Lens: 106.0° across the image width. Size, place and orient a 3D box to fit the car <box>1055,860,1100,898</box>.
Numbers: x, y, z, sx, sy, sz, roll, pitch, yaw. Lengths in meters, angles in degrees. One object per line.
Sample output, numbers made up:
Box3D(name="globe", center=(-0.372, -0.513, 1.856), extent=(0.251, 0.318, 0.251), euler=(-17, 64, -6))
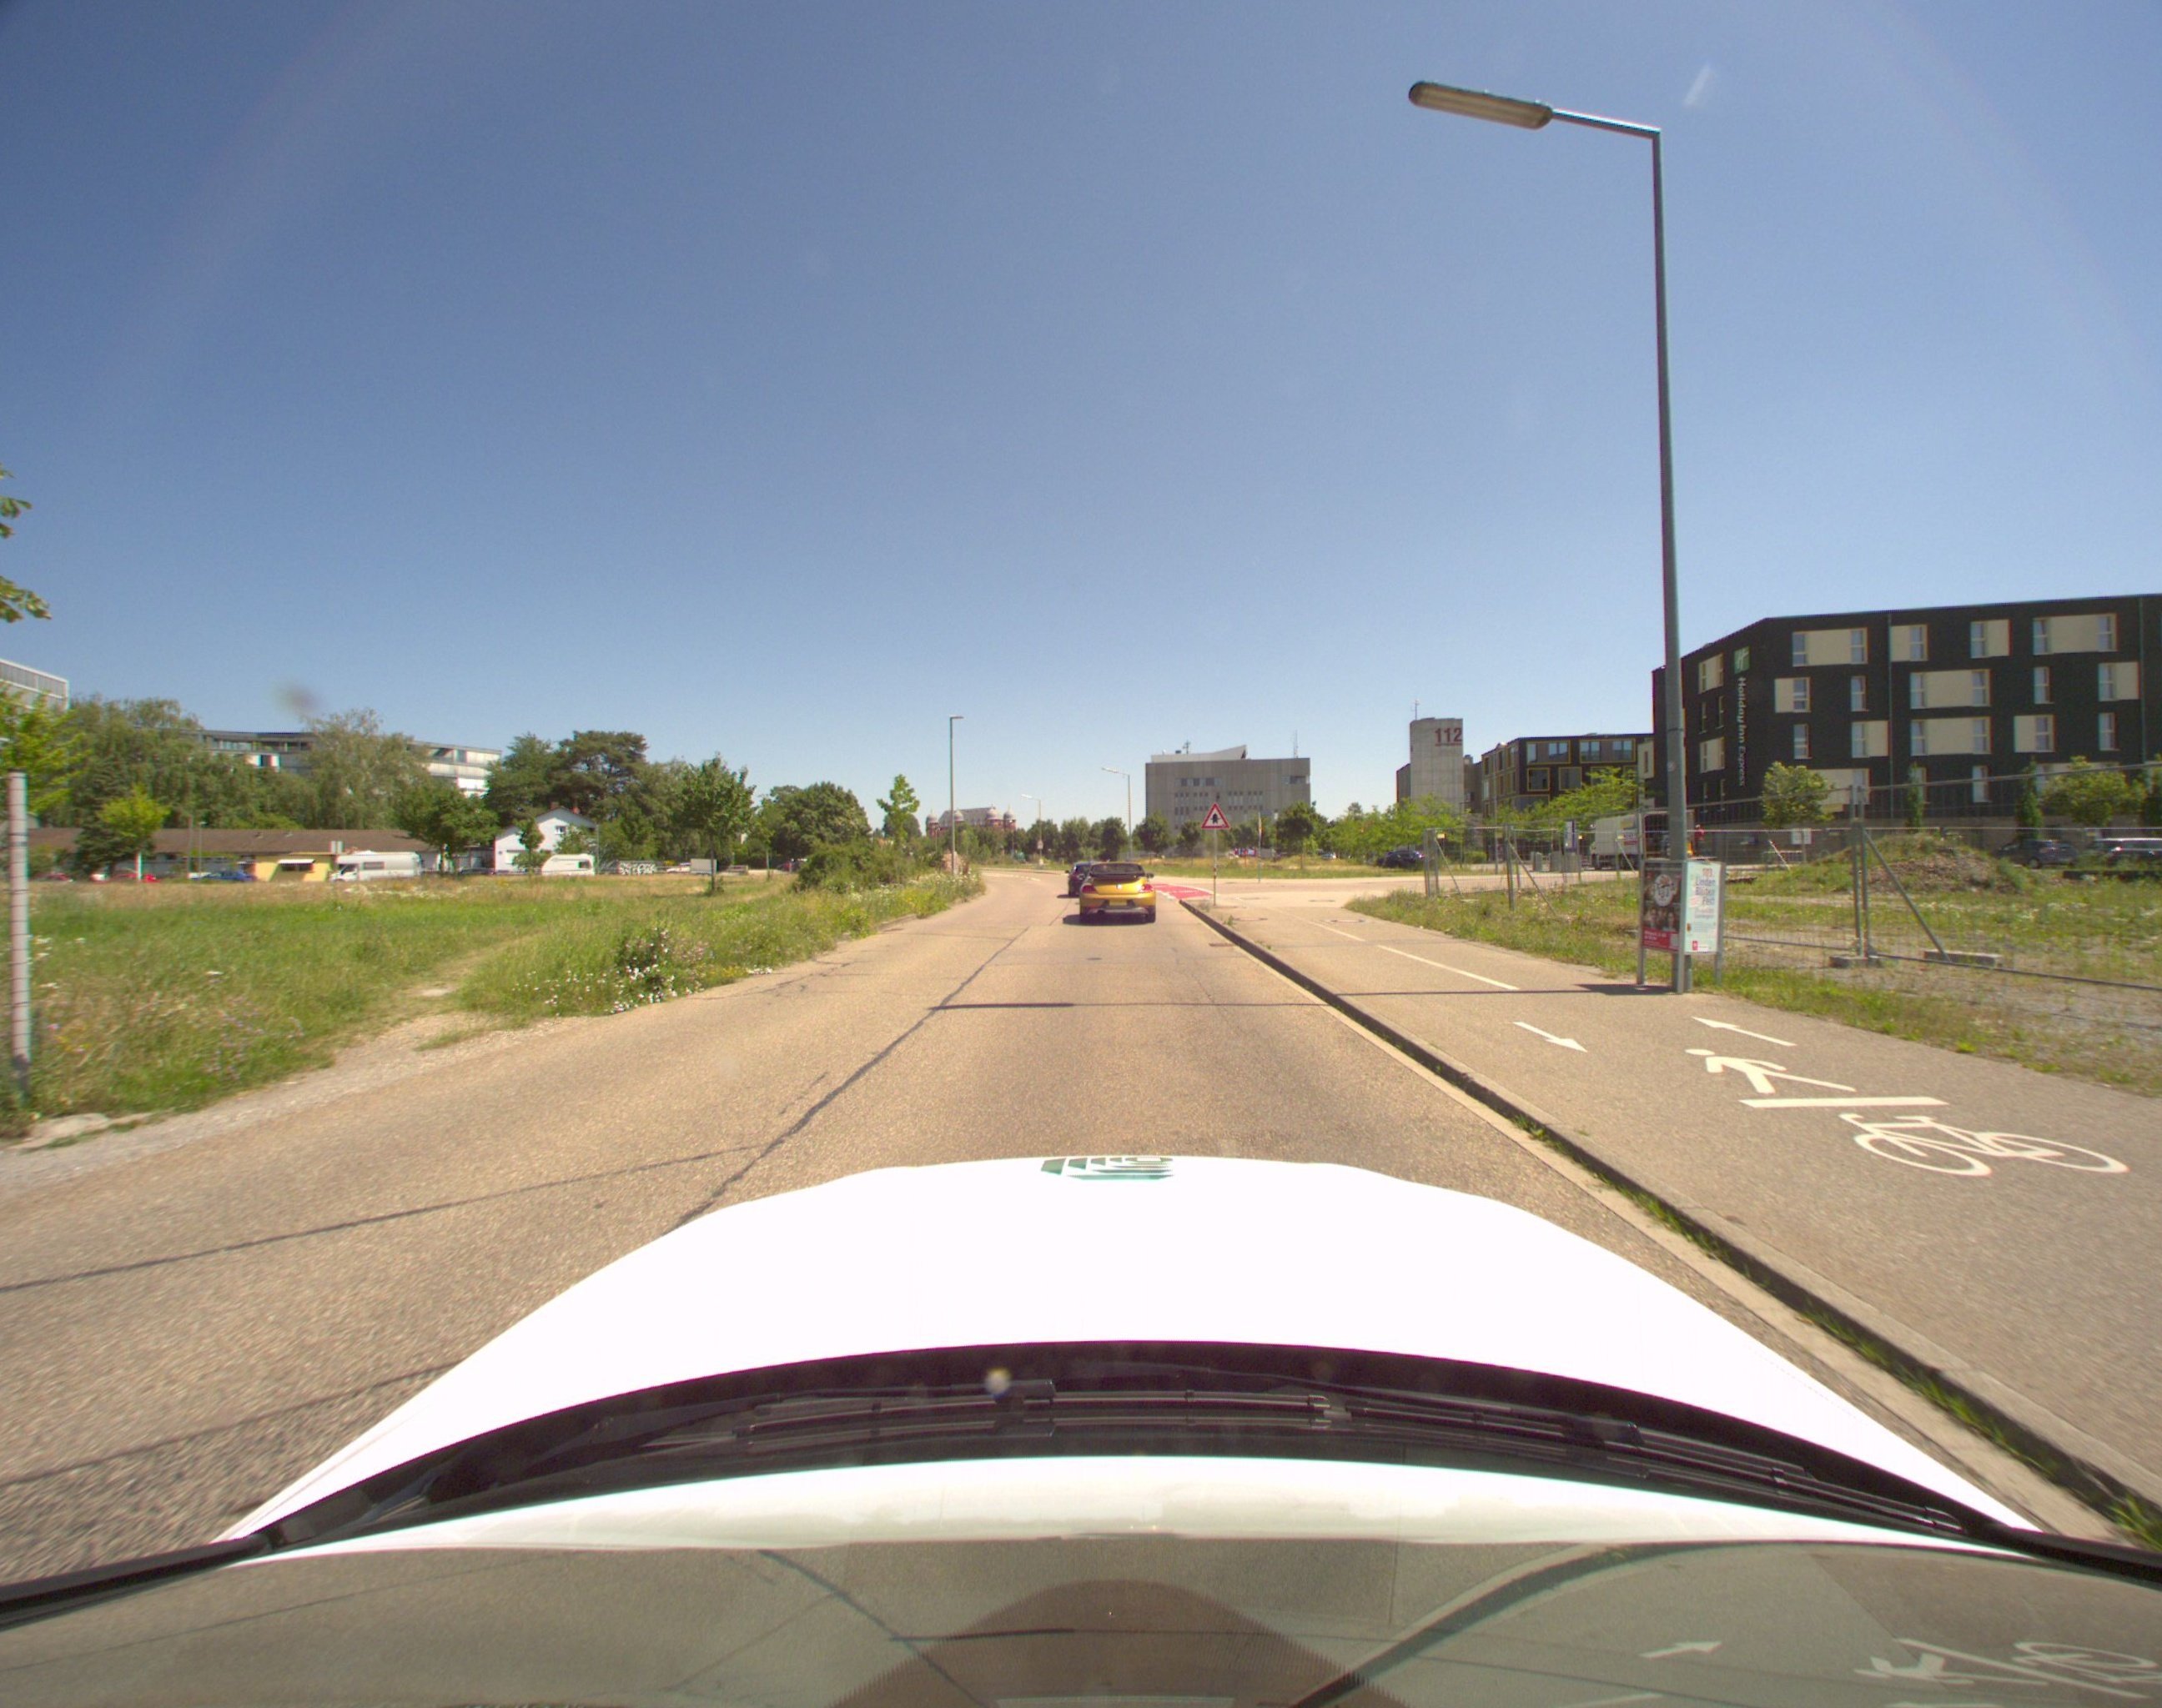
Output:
Box3D(name="car", center=(-0.198, 0.983, 33.647), extent=(1.722, 1.443, 3.997), euler=(-1, 0, -2))

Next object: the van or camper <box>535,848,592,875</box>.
Box3D(name="van or camper", center=(-50.782, 0.766, 80.105), extent=(4.477, 2.591, 2.469), euler=(2, -2, -29))

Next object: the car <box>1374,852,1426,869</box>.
Box3D(name="car", center=(29.356, 0.588, 75.140), extent=(4.092, 1.444, 1.965), euler=(-1, -1, 6))

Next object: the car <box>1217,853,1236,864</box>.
Box3D(name="car", center=(29.380, 0.909, 164.453), extent=(3.816, 2.294, 1.748), euler=(-1, -1, 12))

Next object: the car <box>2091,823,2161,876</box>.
Box3D(name="car", center=(42.544, -0.175, 31.562), extent=(3.874, 2.014, 1.888), euler=(-1, 0, 16))

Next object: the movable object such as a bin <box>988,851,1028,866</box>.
Box3D(name="movable object such as a bin", center=(-16.250, 1.094, 180.546), extent=(4.972, 3.260, 10.364), euler=(0, -1, -31))

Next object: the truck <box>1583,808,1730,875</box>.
Box3D(name="truck", center=(34.506, -0.655, 49.626), extent=(2.987, 3.462, 12.184), euler=(-3, -1, 14))

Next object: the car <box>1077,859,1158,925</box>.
Box3D(name="car", center=(0.915, 0.860, 19.993), extent=(1.782, 1.436, 3.816), euler=(-1, 0, 3))

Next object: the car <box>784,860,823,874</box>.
Box3D(name="car", center=(-36.925, 1.704, 108.224), extent=(4.841, 1.840, 1.985), euler=(-1, 0, -22))

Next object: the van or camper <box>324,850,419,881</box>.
Box3D(name="van or camper", center=(-63.403, 0.990, 72.939), extent=(5.986, 2.593, 2.448), euler=(0, -1, -30))

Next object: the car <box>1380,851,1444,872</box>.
Box3D(name="car", center=(26.725, 0.603, 65.812), extent=(4.465, 1.562, 2.038), euler=(-1, 0, 10))

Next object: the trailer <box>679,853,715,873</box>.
Box3D(name="trailer", center=(-40.646, 0.930, 86.218), extent=(3.434, 2.045, 1.744), euler=(0, -1, -28))

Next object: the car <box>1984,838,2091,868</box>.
Box3D(name="car", center=(48.978, -0.067, 41.795), extent=(1.679, 1.453, 3.593), euler=(-1, 0, 11))

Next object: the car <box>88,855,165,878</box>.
Box3D(name="car", center=(-76.258, 0.970, 65.128), extent=(3.592, 1.772, 1.740), euler=(0, -1, -32))

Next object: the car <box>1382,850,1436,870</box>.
Box3D(name="car", center=(28.247, 0.487, 70.259), extent=(4.031, 1.652, 1.961), euler=(-1, -1, 11))

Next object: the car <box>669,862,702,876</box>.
Box3D(name="car", center=(-45.910, 1.754, 94.557), extent=(3.352, 1.577, 1.757), euler=(-1, 0, -27))

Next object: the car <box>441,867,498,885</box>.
Box3D(name="car", center=(-57.410, 2.047, 76.509), extent=(4.008, 1.552, 1.898), euler=(0, 0, -26))
